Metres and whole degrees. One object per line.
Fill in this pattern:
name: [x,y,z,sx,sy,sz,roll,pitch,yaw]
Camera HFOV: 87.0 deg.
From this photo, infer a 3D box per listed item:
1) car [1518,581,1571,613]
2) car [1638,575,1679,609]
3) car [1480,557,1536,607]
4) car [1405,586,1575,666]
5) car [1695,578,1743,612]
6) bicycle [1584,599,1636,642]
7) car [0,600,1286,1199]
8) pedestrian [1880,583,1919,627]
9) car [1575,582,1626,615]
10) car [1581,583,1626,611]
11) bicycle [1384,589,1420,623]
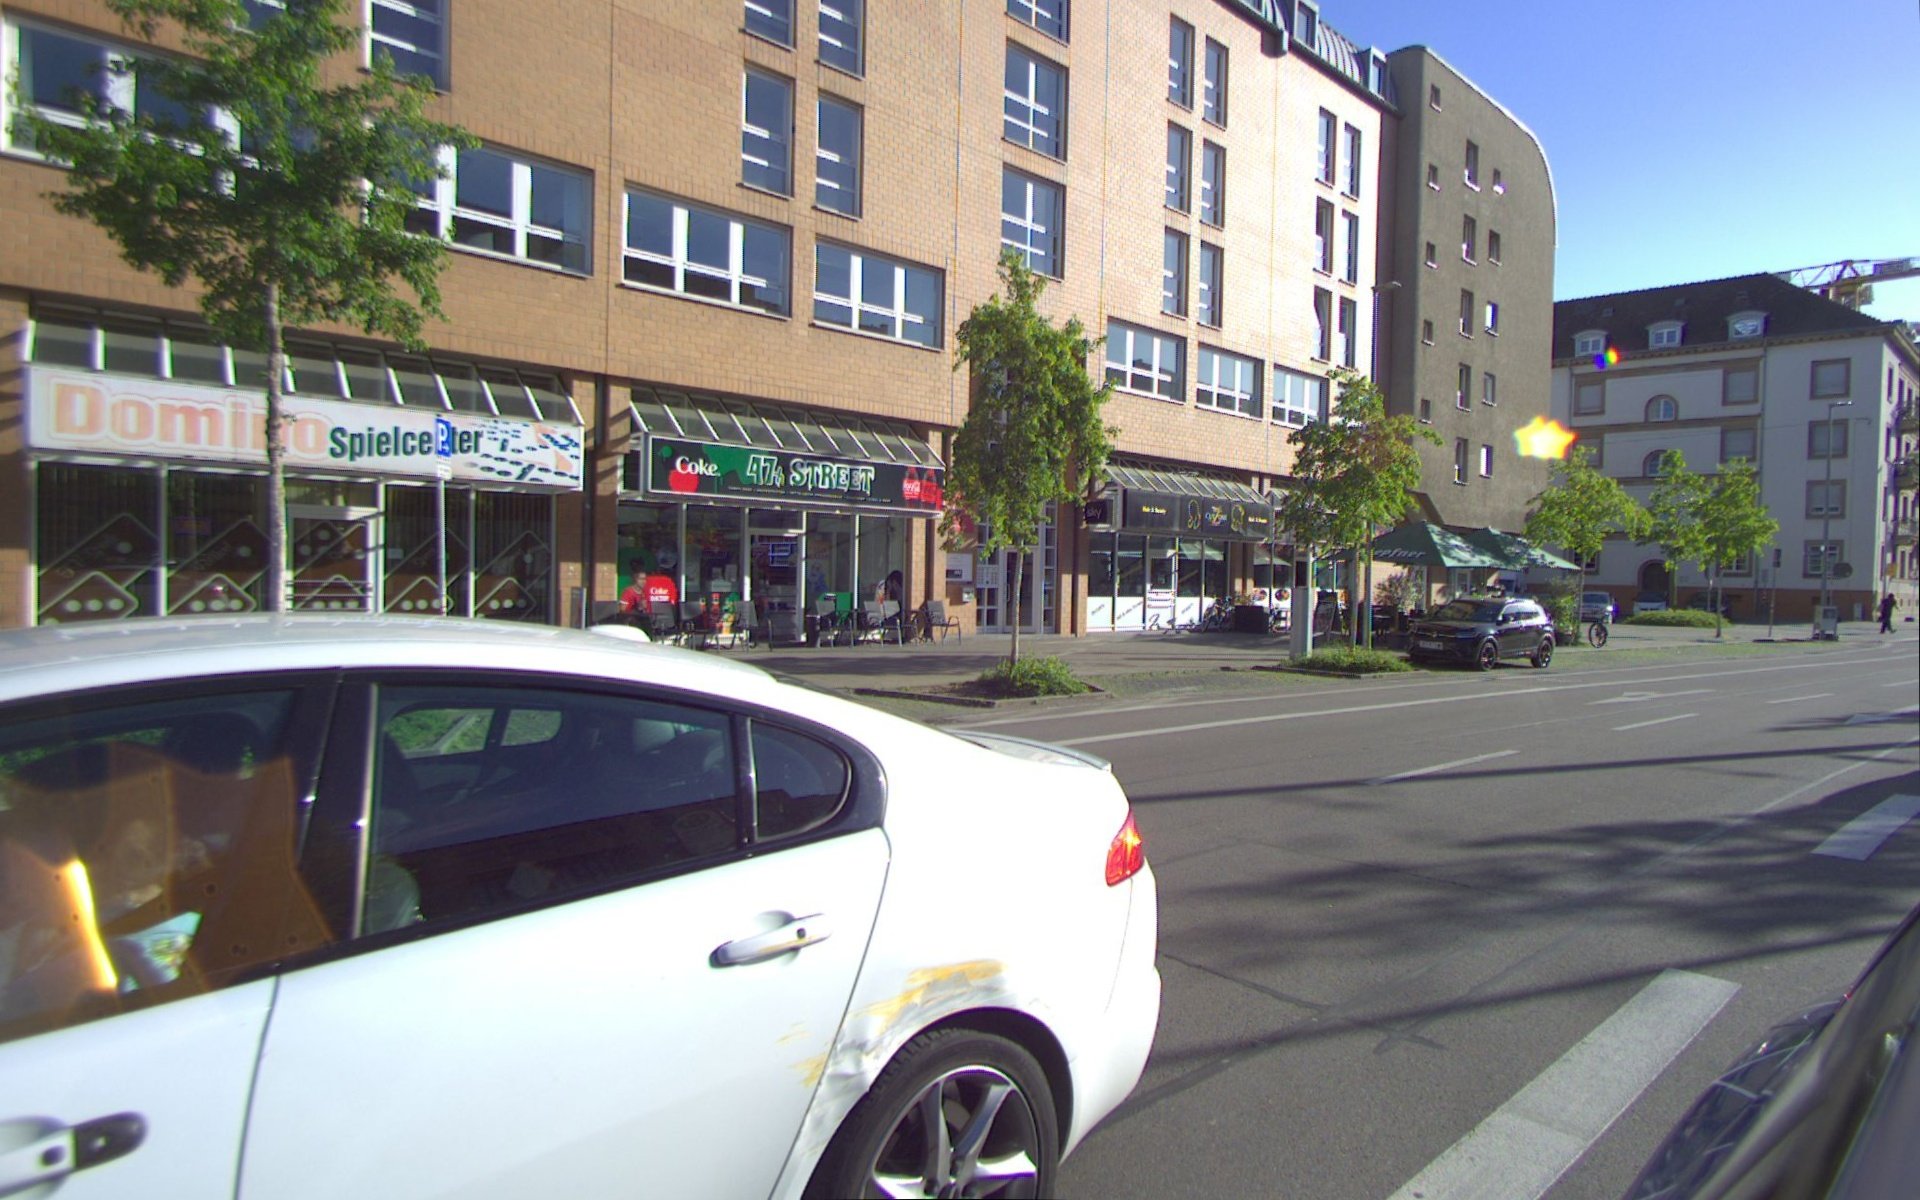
car: [28.053,-0.123,48.513,1.629,1.471,3.604,0,0,39]
car: [38.258,-0.466,55.407,1.619,1.707,4.381,1,3,37]
car: [32.252,-1.120,59.510,1.919,2.640,5.884,2,4,38]
car: [12.345,0.529,23.510,4.150,1.657,1.727,0,3,-34]
car: [40.118,-0.265,53.459,1.691,1.708,4.373,0,0,41]
bicycle: [19.431,0.587,30.248,1.965,1.093,0.767,-2,8,-44]
car: [-1.535,0.728,1.709,4.734,1.432,1.783,0,0,-41]
pedestrian: [39.989,0.214,43.052,1.083,1.784,0.888,-1,4,-31]
car: [29.825,-0.066,47.095,1.658,1.493,3.785,0,0,37]
car: [36.172,-0.179,56.870,1.689,1.447,4.379,0,1,38]
bicycle: [15.951,0.197,36.484,1.511,1.183,0.614,0,3,-44]
